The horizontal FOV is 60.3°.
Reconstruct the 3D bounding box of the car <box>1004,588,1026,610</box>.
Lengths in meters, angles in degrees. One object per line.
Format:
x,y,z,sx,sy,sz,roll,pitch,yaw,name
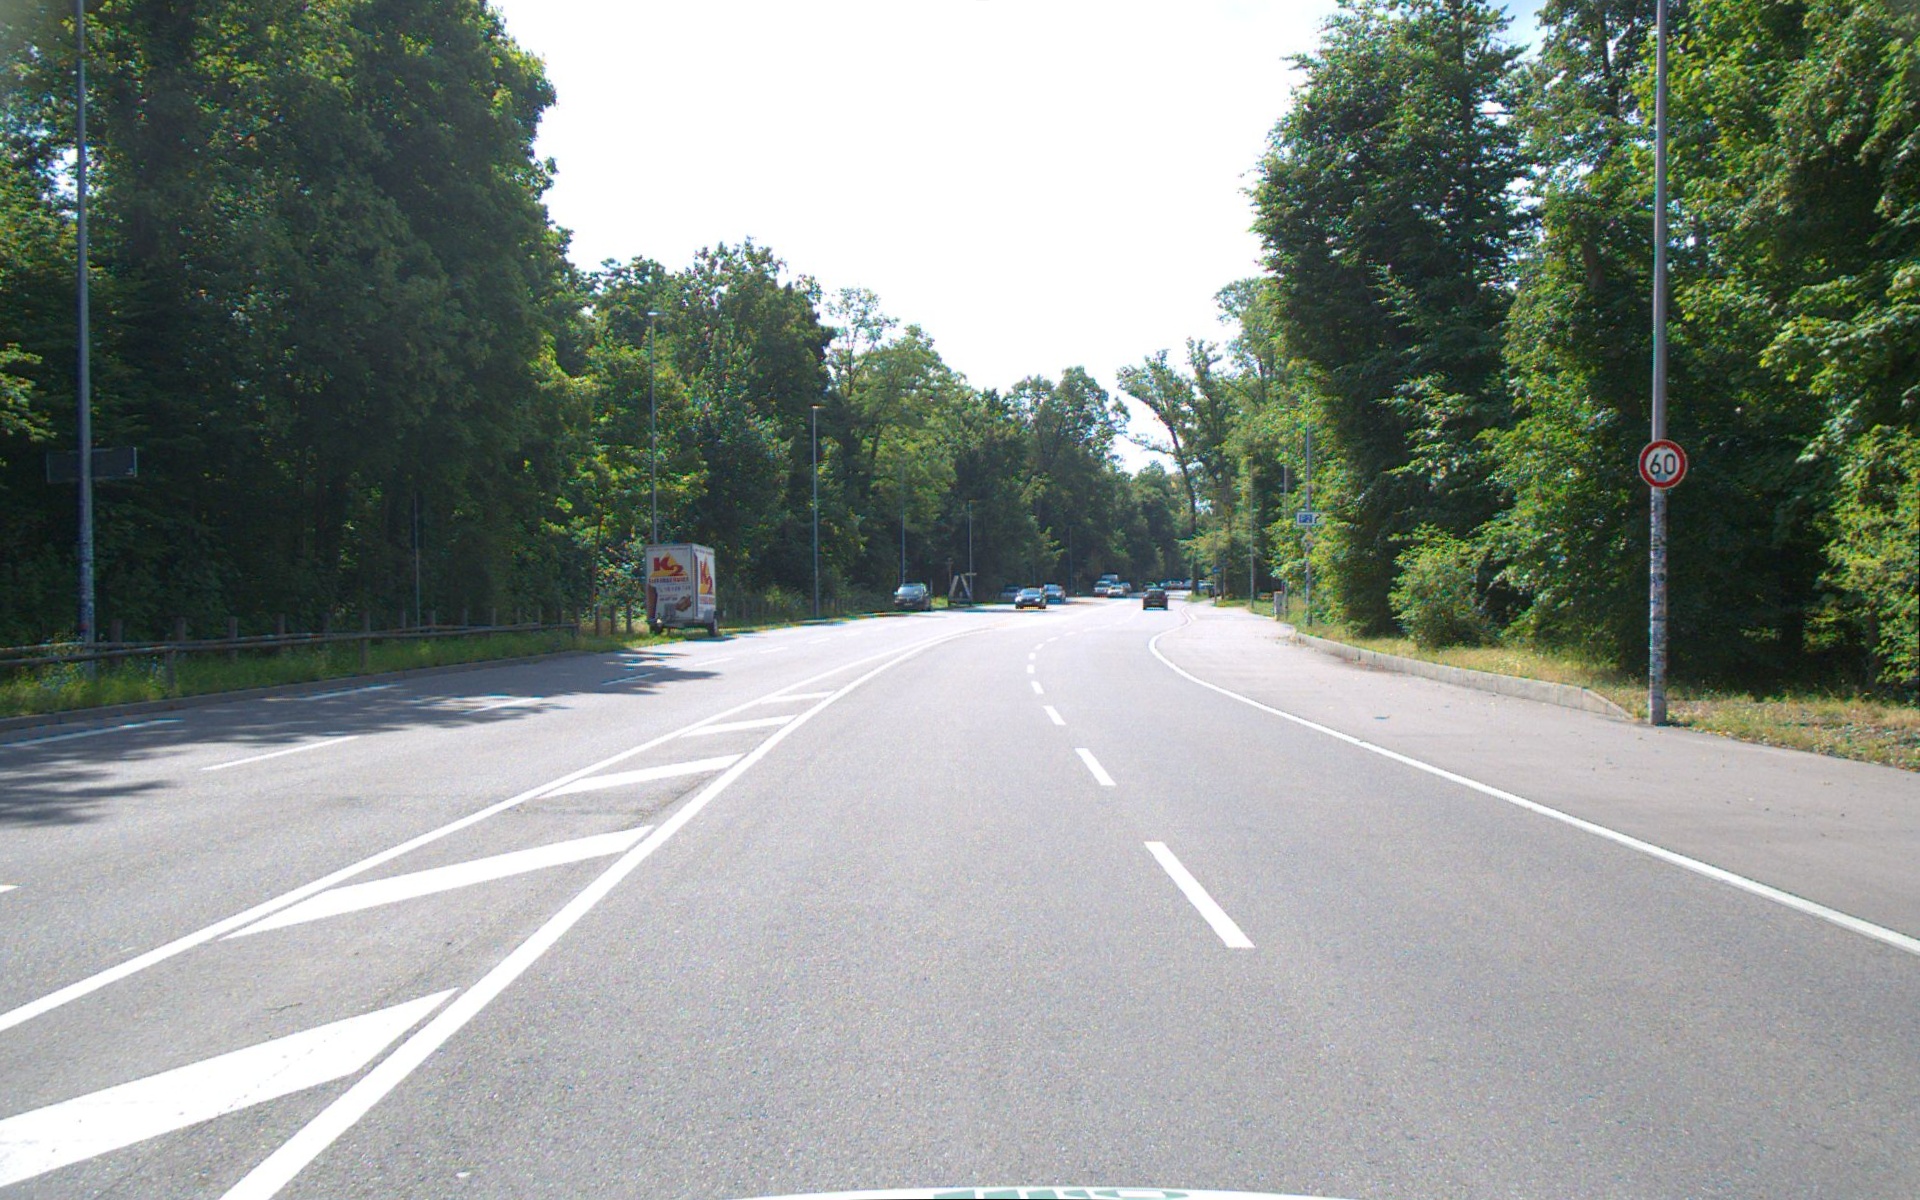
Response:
4.868,-0.107,145.668,1.882,1.887,4.001,0,0,2,car

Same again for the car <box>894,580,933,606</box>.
-2.664,-0.387,95.097,1.471,1.472,3.532,0,0,11,car

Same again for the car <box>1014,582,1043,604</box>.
4.624,-0.458,111.233,1.471,1.472,3.532,0,0,10,car

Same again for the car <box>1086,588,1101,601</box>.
15.390,-0.605,190.520,1.471,1.472,3.532,0,0,8,car

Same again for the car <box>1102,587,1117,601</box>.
16.594,-0.677,183.086,1.471,1.472,3.532,0,0,8,car

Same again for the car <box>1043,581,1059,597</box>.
8.365,-1.034,151.984,1.472,1.472,3.531,0,0,3,car

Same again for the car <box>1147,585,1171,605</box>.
14.058,-0.375,116.841,1.563,1.402,3.979,0,0,9,car

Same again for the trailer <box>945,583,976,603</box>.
0.066,-0.508,117.694,1.680,1.378,3.735,0,0,8,trailer

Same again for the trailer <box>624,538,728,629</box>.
-7.917,-0.451,46.427,1.951,2.430,4.002,0,0,4,trailer
